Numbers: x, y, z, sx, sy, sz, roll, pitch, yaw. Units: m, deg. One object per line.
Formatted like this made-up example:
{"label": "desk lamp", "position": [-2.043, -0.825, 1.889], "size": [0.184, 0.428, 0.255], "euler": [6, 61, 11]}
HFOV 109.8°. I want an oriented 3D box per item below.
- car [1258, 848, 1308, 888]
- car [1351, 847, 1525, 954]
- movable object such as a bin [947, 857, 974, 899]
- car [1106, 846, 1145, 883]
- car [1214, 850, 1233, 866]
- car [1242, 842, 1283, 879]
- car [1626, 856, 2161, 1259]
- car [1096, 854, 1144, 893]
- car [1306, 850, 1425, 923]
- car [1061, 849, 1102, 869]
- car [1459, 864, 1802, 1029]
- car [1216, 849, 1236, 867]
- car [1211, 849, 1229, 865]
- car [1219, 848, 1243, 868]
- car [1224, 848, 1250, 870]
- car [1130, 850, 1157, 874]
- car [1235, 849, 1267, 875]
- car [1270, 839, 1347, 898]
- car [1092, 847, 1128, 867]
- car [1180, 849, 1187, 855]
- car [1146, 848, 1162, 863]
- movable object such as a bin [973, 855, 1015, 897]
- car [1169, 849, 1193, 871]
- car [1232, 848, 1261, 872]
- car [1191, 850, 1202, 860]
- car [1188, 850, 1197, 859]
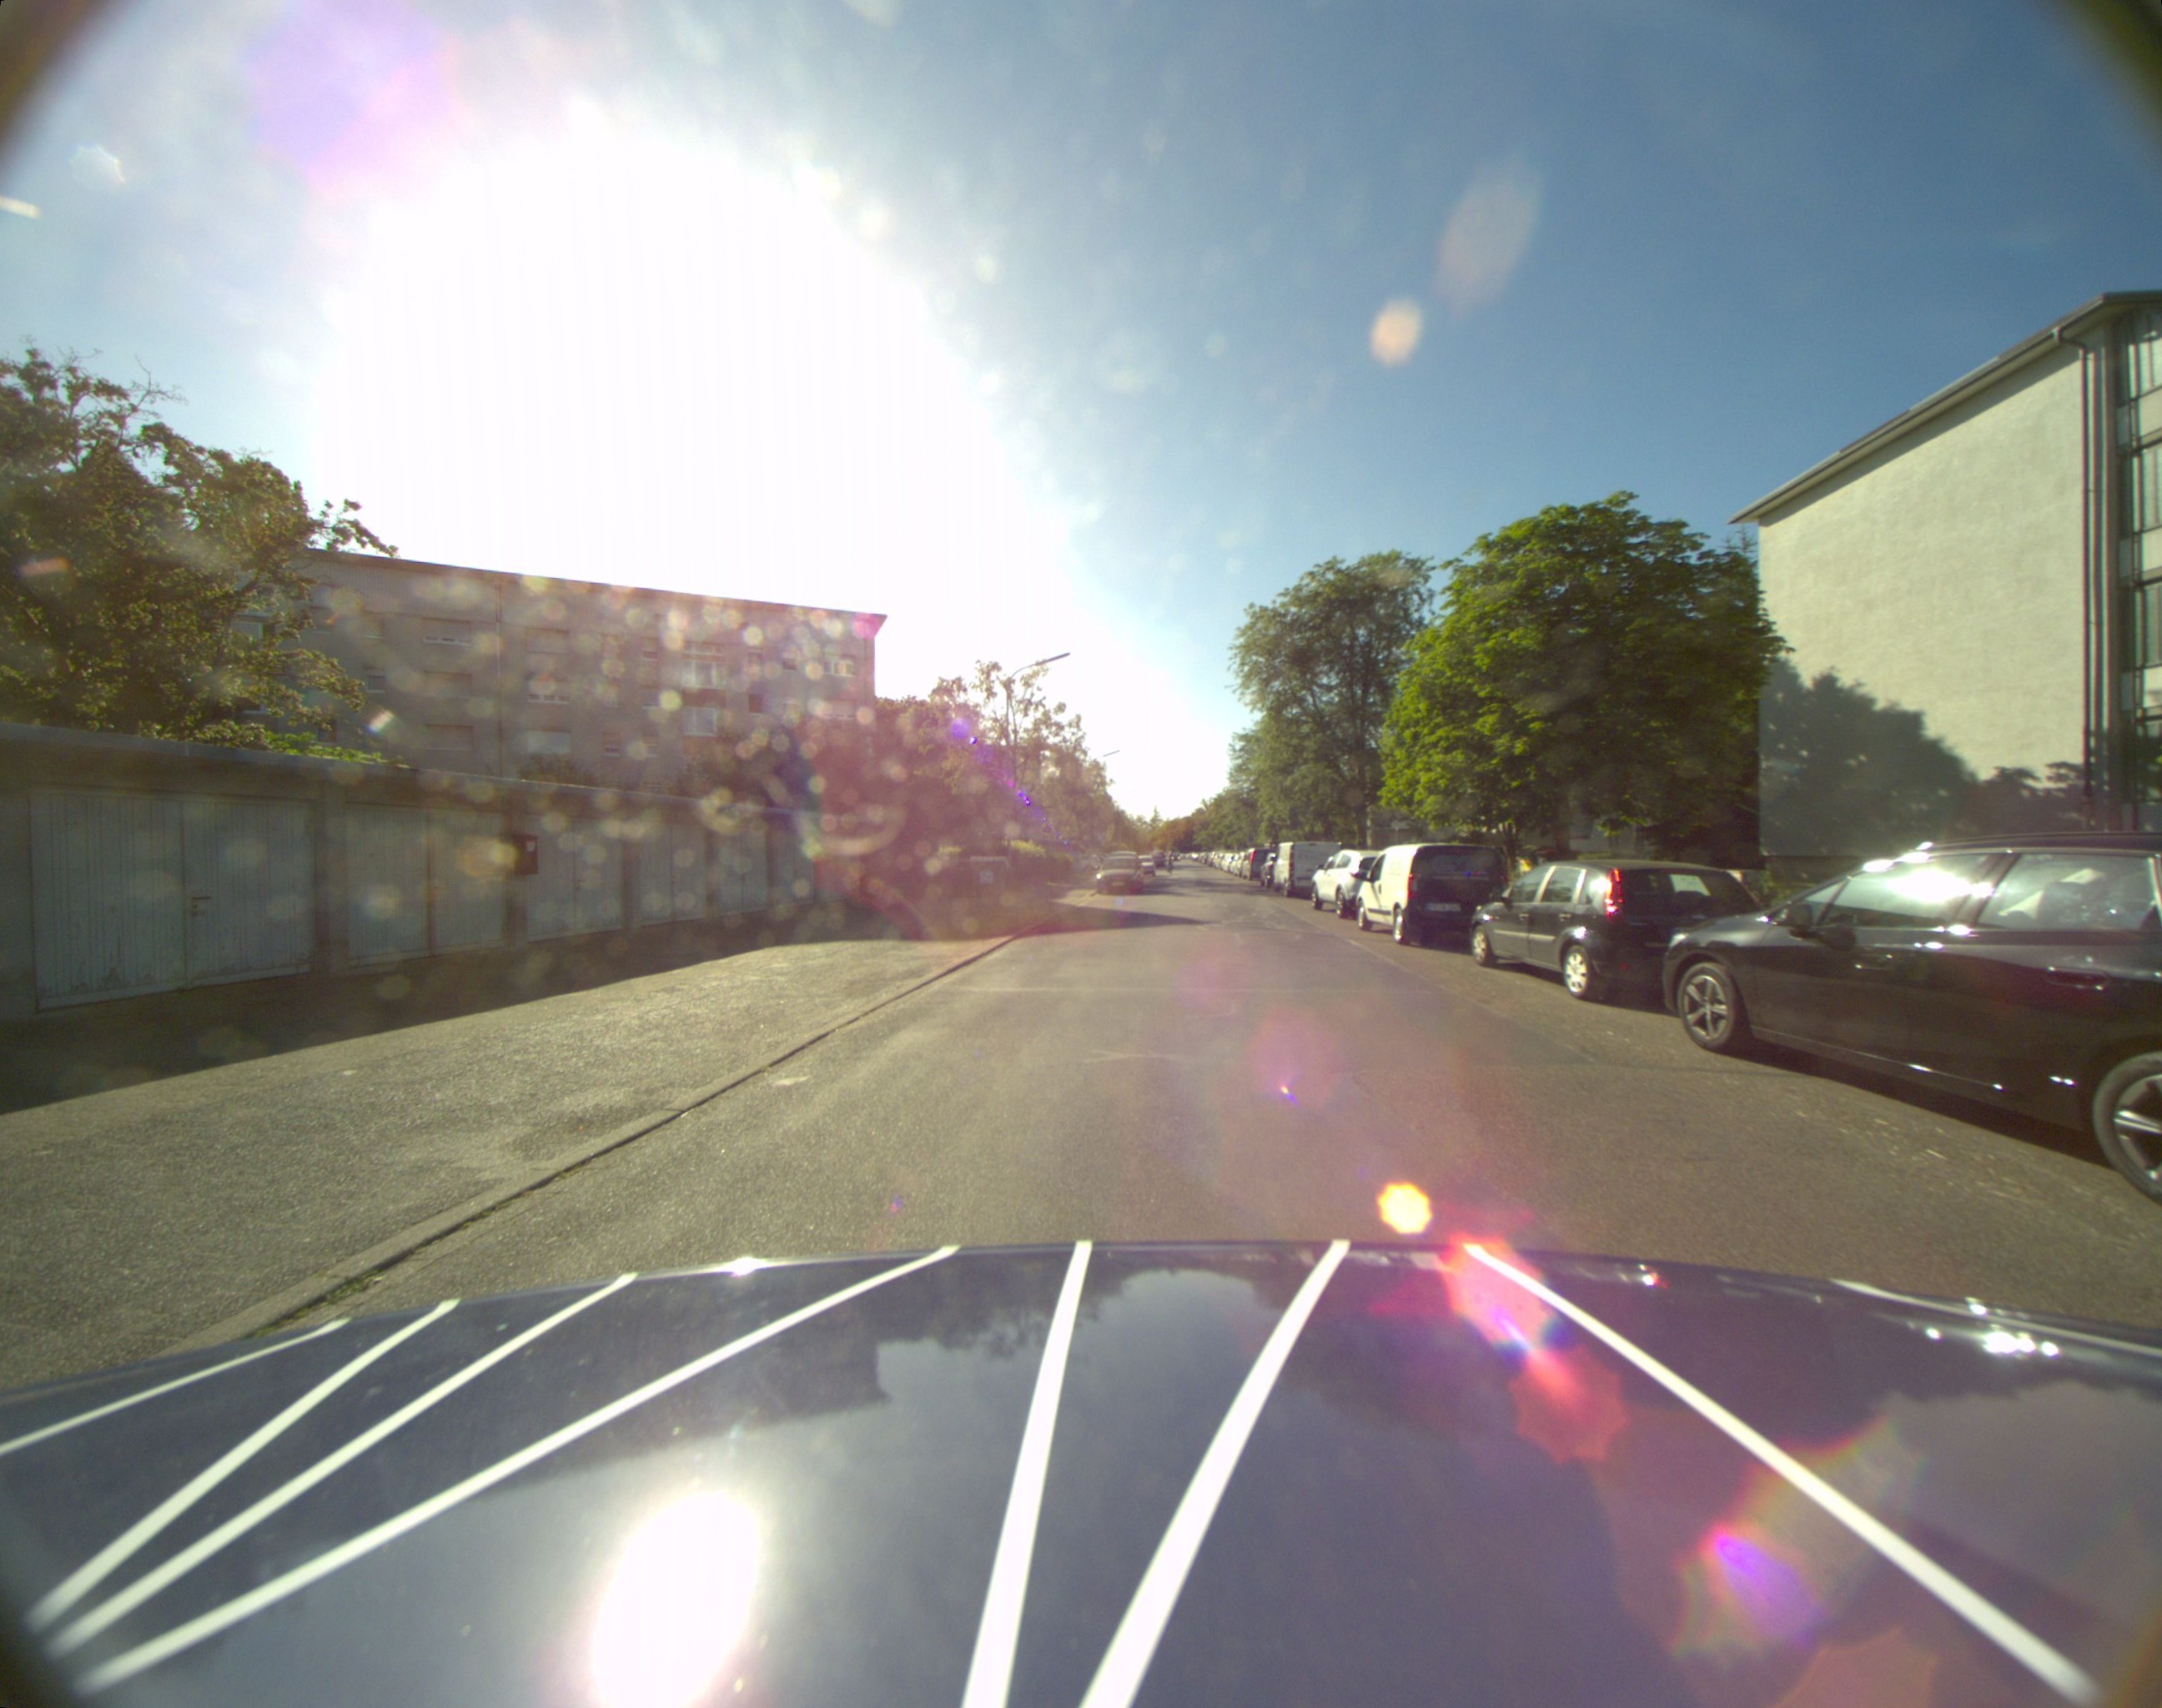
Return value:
{"label": "car", "position": [8.912, 0.564, 33.707], "size": [1.731, 1.630, 3.815], "euler": [1, 0, 9]}
{"label": "car", "position": [6.359, 0.736, 13.995], "size": [1.816, 1.672, 3.650], "euler": [1, 0, 7]}
{"label": "movable object such as a bin", "position": [-4.262, 0.840, 26.906], "size": [0.753, 1.434, 0.848], "euler": [1, 2, 5]}
{"label": "car", "position": [2.330, 0.525, 39.059], "size": [1.731, 1.743, 3.814], "euler": [-2, 0, 6]}
{"label": "car", "position": [14.186, 0.383, 75.782], "size": [1.632, 1.619, 3.557], "euler": [1, 0, 6]}
{"label": "car", "position": [10.197, 0.329, 42.842], "size": [1.731, 1.941, 3.814], "euler": [1, 0, 6]}
{"label": "car", "position": [5.281, 0.822, 4.140], "size": [1.783, 1.564, 4.426], "euler": [1, 0, 6]}
{"label": "car", "position": [1.669, 0.760, 31.334], "size": [1.731, 1.462, 3.814], "euler": [-2, 0, 6]}
{"label": "car", "position": [7.101, 0.737, 19.423], "size": [1.731, 1.630, 4.171], "euler": [1, 0, 5]}
{"label": "car", "position": [0.036, 0.448, 67.145], "size": [3.503, 1.499, 1.602], "euler": [-3, 1, 1]}
{"label": "car", "position": [5.978, 0.874, 8.868], "size": [1.626, 1.428, 3.655], "euler": [1, 0, 6]}
{"label": "car", "position": [13.733, 0.392, 72.060], "size": [1.632, 1.619, 3.557], "euler": [1, 0, 6]}
{"label": "car", "position": [14.869, 0.318, 81.531], "size": [1.632, 1.619, 3.557], "euler": [1, 0, 6]}
{"label": "car", "position": [12.925, 0.315, 65.627], "size": [1.632, 1.619, 3.557], "euler": [1, 0, 6]}
{"label": "car", "position": [12.217, 0.352, 59.667], "size": [1.632, 1.619, 3.557], "euler": [1, 0, 6]}
{"label": "car", "position": [4.400, 0.532, 53.314], "size": [1.731, 1.586, 3.814], "euler": [-2, 0, 6]}
{"label": "car", "position": [10.832, 0.482, 48.567], "size": [1.632, 1.619, 3.557], "euler": [1, 0, 6]}
{"label": "car", "position": [8.139, 0.481, 27.577], "size": [1.908, 1.930, 4.513], "euler": [1, 0, 7]}
{"label": "car", "position": [3.186, 0.322, 84.012], "size": [3.775, 2.002, 1.811], "euler": [-3, 1, 6]}
{"label": "car", "position": [27.253, -0.481, 202.602], "size": [1.632, 1.629, 3.567], "euler": [1, 0, 6]}
{"label": "car", "position": [8.423, 0.182, 87.901], "size": [1.731, 1.586, 3.814], "euler": [-2, 0, 6]}
{"label": "movable object such as a bin", "position": [-3.111, 0.789, 27.267], "size": [1.277, 1.434, 1.180], "euler": [1, 2, 5]}
{"label": "car", "position": [7.617, 0.437, 58.004], "size": [1.731, 1.586, 3.814], "euler": [-2, 0, 6]}
{"label": "car", "position": [11.653, 0.416, 53.719], "size": [1.632, 1.619, 3.557], "euler": [1, 0, 6]}
{"label": "car", "position": [20.186, 0.175, 132.668], "size": [1.632, 1.619, 3.557], "euler": [1, 0, 6]}
{"label": "car", "position": [20.437, 0.120, 139.438], "size": [1.632, 1.619, 3.557], "euler": [1, 0, 6]}
